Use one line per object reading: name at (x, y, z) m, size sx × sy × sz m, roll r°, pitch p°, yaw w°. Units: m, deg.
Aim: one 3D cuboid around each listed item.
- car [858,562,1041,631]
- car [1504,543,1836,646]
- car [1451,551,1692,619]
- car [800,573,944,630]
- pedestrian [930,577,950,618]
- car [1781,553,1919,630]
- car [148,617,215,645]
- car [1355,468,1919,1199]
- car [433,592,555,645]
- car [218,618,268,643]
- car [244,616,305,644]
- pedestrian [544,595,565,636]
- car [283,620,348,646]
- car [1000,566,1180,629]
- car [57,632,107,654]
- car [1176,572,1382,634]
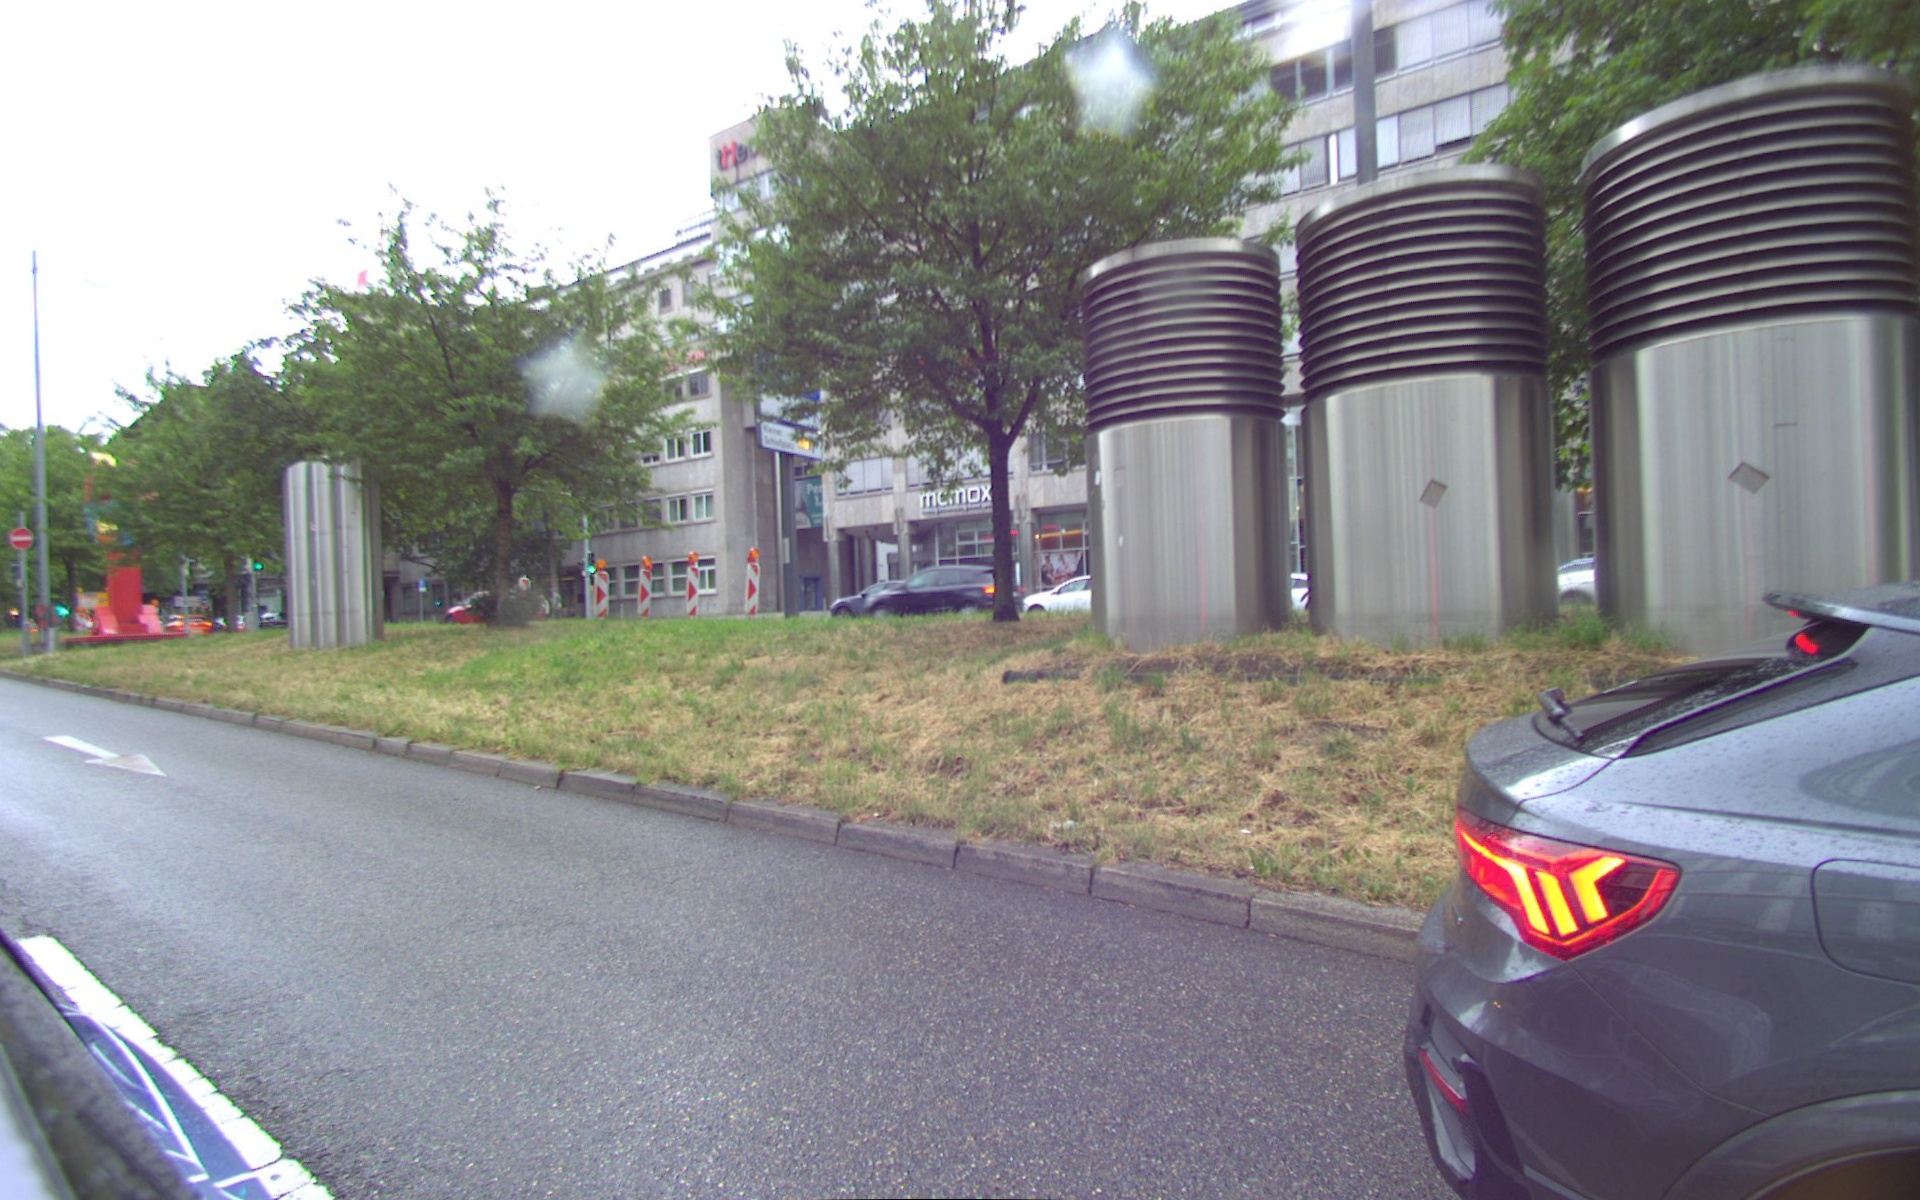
car at (-0.278, -0.059, 24.049) m, size 3.987 × 1.486 × 1.853 m, roll -2°, pitch 0°, yaw 33°
car at (11.314, -0.045, 16.485) m, size 4.180 × 1.486 × 1.805 m, roll -2°, pitch 0°, yaw 33°
car at (13.636, -0.302, 22.751) m, size 4.465 × 1.335 × 1.876 m, roll -2°, pitch 0°, yaw 34°
car at (-2.999, 0.084, 33.866) m, size 4.785 × 1.739 × 1.844 m, roll -2°, pitch -1°, yaw 38°
pedestrian at (-0.901, -0.131, 45.517) m, size 0.528 × 1.801 × 0.712 m, roll -2°, pitch 0°, yaw 38°
car at (18.481, -0.180, 19.473) m, size 4.007 × 1.412 × 1.760 m, roll -2°, pitch -1°, yaw 36°
car at (-42.178, 1.681, 54.799) m, size 4.125 × 1.440 × 1.845 m, roll -2°, pitch -1°, yaw 37°
car at (2.848, 0.591, 0.944) m, size 4.246 × 1.628 × 1.830 m, roll -2°, pitch 0°, yaw 38°
car at (-16.071, 0.653, 34.869) m, size 3.987 × 1.713 × 1.930 m, roll -2°, pitch 0°, yaw 33°
car at (-47.014, 1.990, 66.324) m, size 3.687 × 1.514 × 1.670 m, roll -2°, pitch -1°, yaw 38°
car at (-42.958, 1.865, 63.398) m, size 4.461 × 1.634 × 1.844 m, roll -2°, pitch -1°, yaw 38°
pedestrian at (-18.072, 0.680, 45.090) m, size 0.721 × 1.801 × 0.522 m, roll -2°, pitch 0°, yaw 42°
car at (-38.584, 2.009, 60.544) m, size 4.559 × 1.440 × 1.844 m, roll -2°, pitch -1°, yaw 38°
car at (3.664, -0.047, 29.083) m, size 4.906 × 1.634 × 1.759 m, roll -1°, pitch 2°, yaw 38°
car at (-59.813, 2.929, 68.916) m, size 4.561 × 1.440 × 1.843 m, roll -2°, pitch -1°, yaw 40°
car at (8.049, 0.116, 25.788) m, size 4.677 × 1.412 × 1.759 m, roll -2°, pitch -1°, yaw 38°
